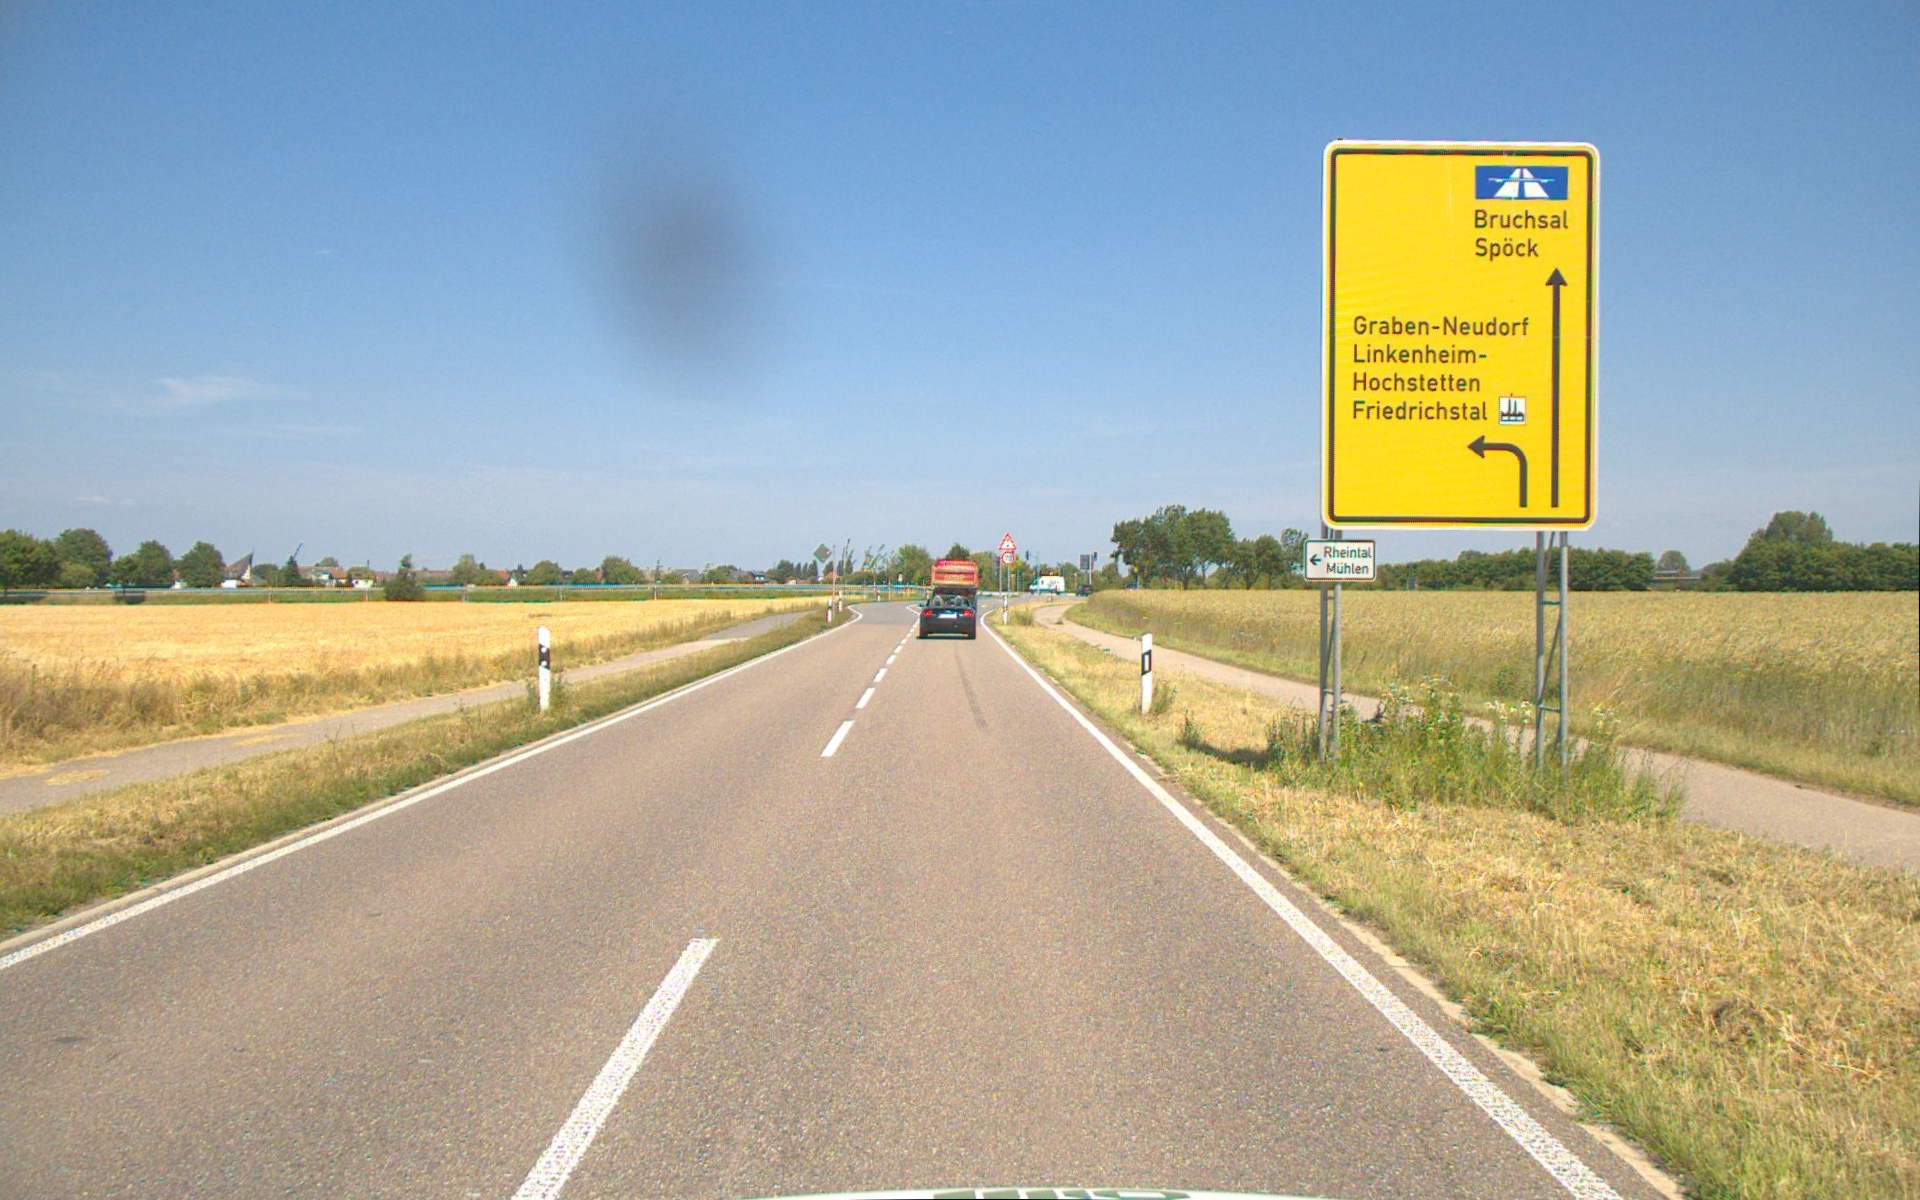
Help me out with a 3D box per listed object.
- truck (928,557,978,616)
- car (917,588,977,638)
[{"bbox_3d":[-0.431,-0.708,93.486,2.659,3.106,8.162,1,0,-1],"label":"truck"},{"bbox_3d":[-0.399,0.401,50.645,1.712,1.399,3.678,2,0,-1],"label":"car"}]
